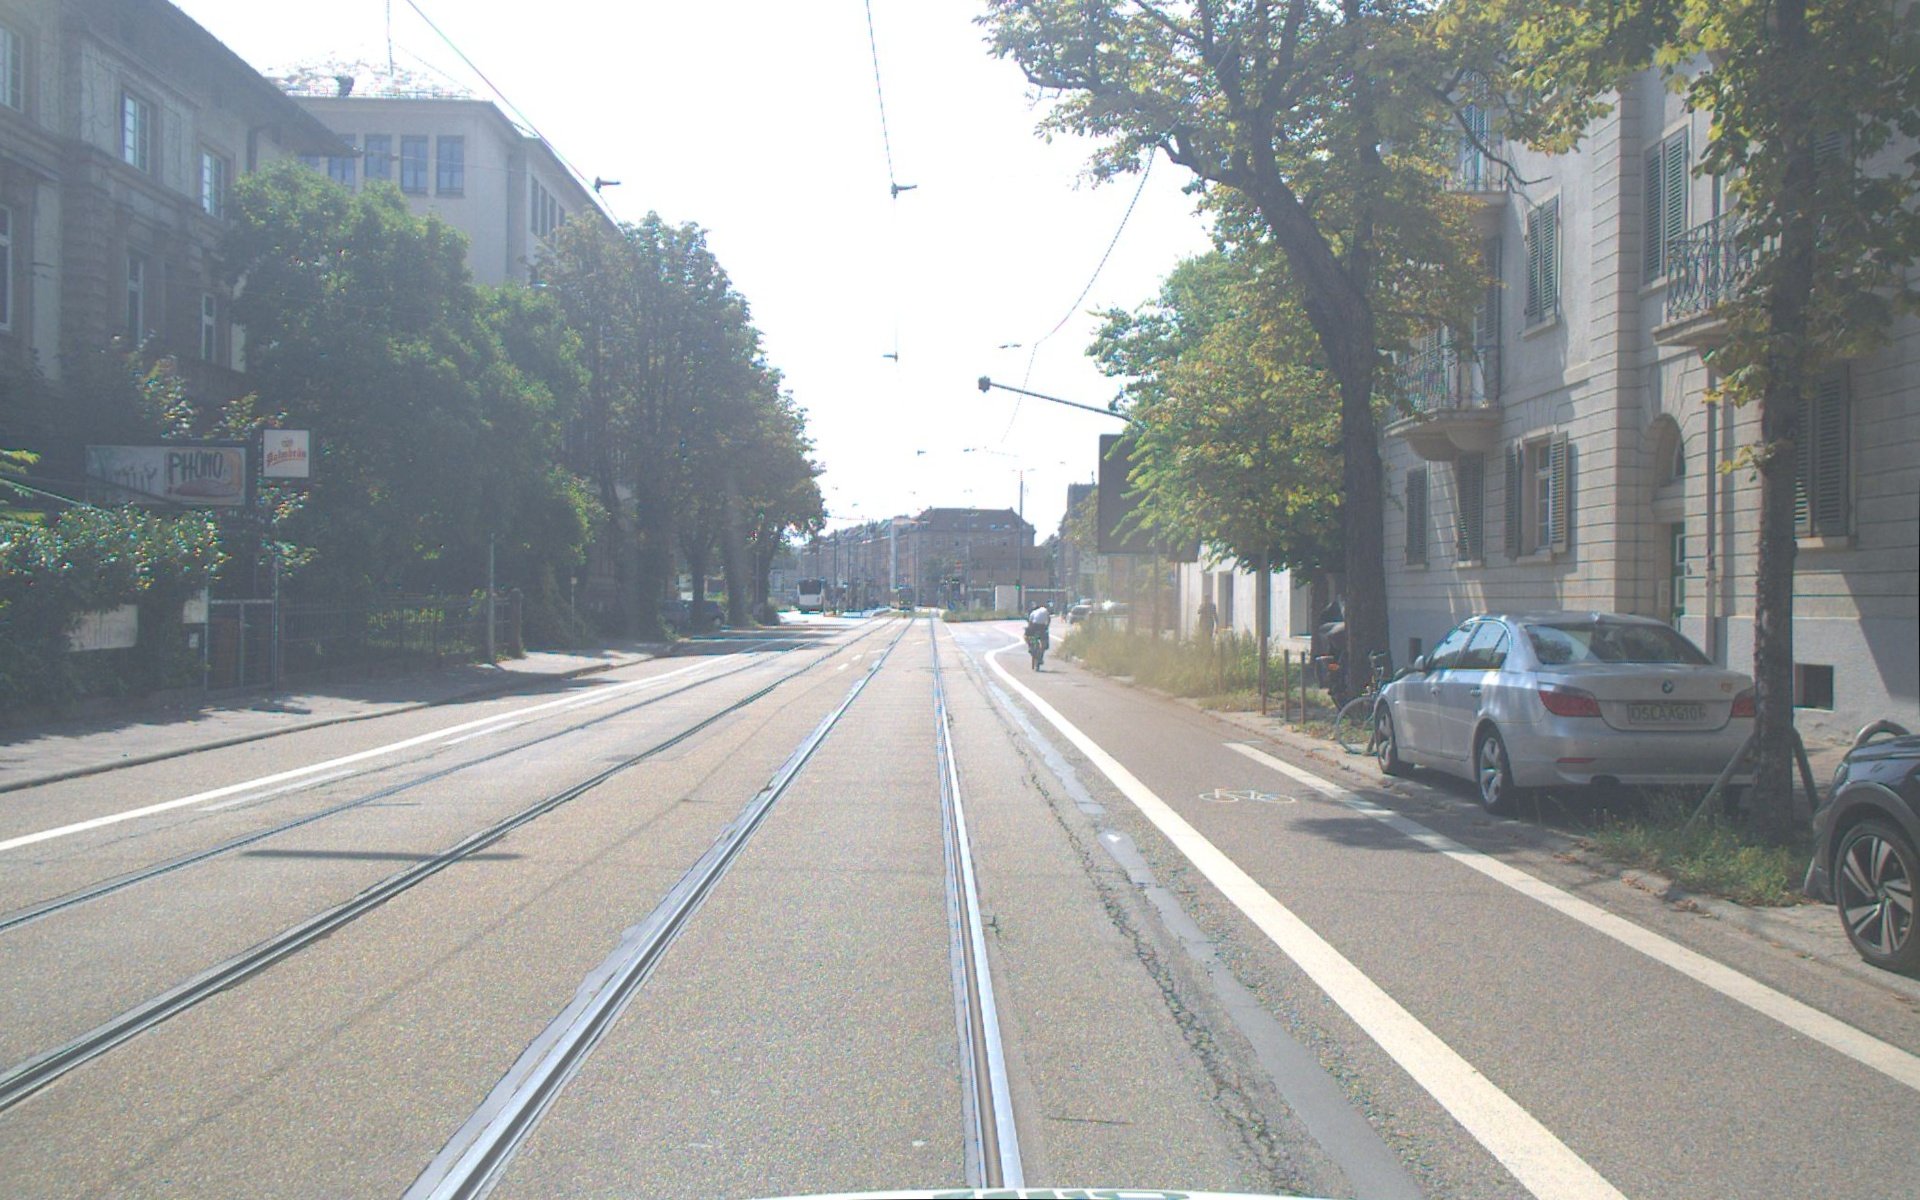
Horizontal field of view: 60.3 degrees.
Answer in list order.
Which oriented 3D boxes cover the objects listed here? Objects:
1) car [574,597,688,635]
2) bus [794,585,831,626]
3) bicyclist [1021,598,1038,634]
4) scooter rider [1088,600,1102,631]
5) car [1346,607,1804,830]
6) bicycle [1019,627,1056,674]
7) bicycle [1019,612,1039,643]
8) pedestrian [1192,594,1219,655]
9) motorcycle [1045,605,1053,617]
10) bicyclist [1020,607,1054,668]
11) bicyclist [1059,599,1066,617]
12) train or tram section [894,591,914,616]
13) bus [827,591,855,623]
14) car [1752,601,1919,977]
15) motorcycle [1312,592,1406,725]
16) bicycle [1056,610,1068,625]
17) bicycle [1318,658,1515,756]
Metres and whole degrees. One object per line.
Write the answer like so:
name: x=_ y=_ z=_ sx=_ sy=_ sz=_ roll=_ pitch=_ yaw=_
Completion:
car: x=-13.762 y=0.664 z=69.173 sx=4.364 sy=1.487 sz=1.804 roll=2 pitch=0 yaw=-28
bus: x=-14.312 y=0.567 z=161.198 sx=2.898 sy=3.841 sz=10.592 roll=1 pitch=0 yaw=-2
bicyclist: x=2.649 y=0.597 z=63.232 sx=0.590 sy=1.358 sz=0.660 roll=1 pitch=0 yaw=7
scooter rider: x=7.974 y=0.926 z=97.522 sx=0.746 sy=1.806 sz=0.555 roll=1 pitch=-1 yaw=16
car: x=4.709 y=0.801 z=13.527 sx=1.747 sy=1.476 sz=4.748 roll=0 pitch=0 yaw=-3
bicycle: x=1.843 y=1.195 z=39.655 sx=0.724 sy=1.067 sz=2.232 roll=1 pitch=0 yaw=-1
bicycle: x=2.637 y=1.044 z=63.193 sx=0.591 sy=1.183 sz=1.812 roll=1 pitch=0 yaw=7
pedestrian: x=7.107 y=0.698 z=47.882 sx=0.677 sy=1.762 sz=0.579 roll=0 pitch=0 yaw=1
motorcycle: x=9.292 y=1.167 z=171.982 sx=0.591 sy=1.232 sz=2.255 roll=1 pitch=0 yaw=10
bicyclist: x=1.843 y=0.884 z=39.676 sx=0.730 sy=1.436 sz=0.961 roll=1 pitch=0 yaw=-1
bicyclist: x=8.251 y=0.664 z=132.999 sx=0.441 sy=1.446 sz=0.495 roll=0 pitch=-1 yaw=30
train or tram section: x=-8.664 y=0.566 z=258.400 sx=2.798 sy=3.610 sz=17.736 roll=1 pitch=0 yaw=-1
bus: x=-14.838 y=0.888 z=206.709 sx=2.654 sy=3.792 sz=10.418 roll=1 pitch=0 yaw=0
car: x=4.835 y=0.768 z=5.823 sx=1.631 sy=1.533 sz=4.429 roll=0 pitch=0 yaw=-6
motorcycle: x=5.037 y=0.708 z=21.007 sx=0.867 sy=1.580 sz=2.413 roll=0 pitch=-1 yaw=7
bicycle: x=8.192 y=1.403 z=132.902 sx=0.436 sy=1.136 sz=1.443 roll=0 pitch=-1 yaw=30
bicycle: x=4.779 y=1.112 z=17.395 sx=1.883 sy=0.969 sz=0.721 roll=1 pitch=-1 yaw=2
